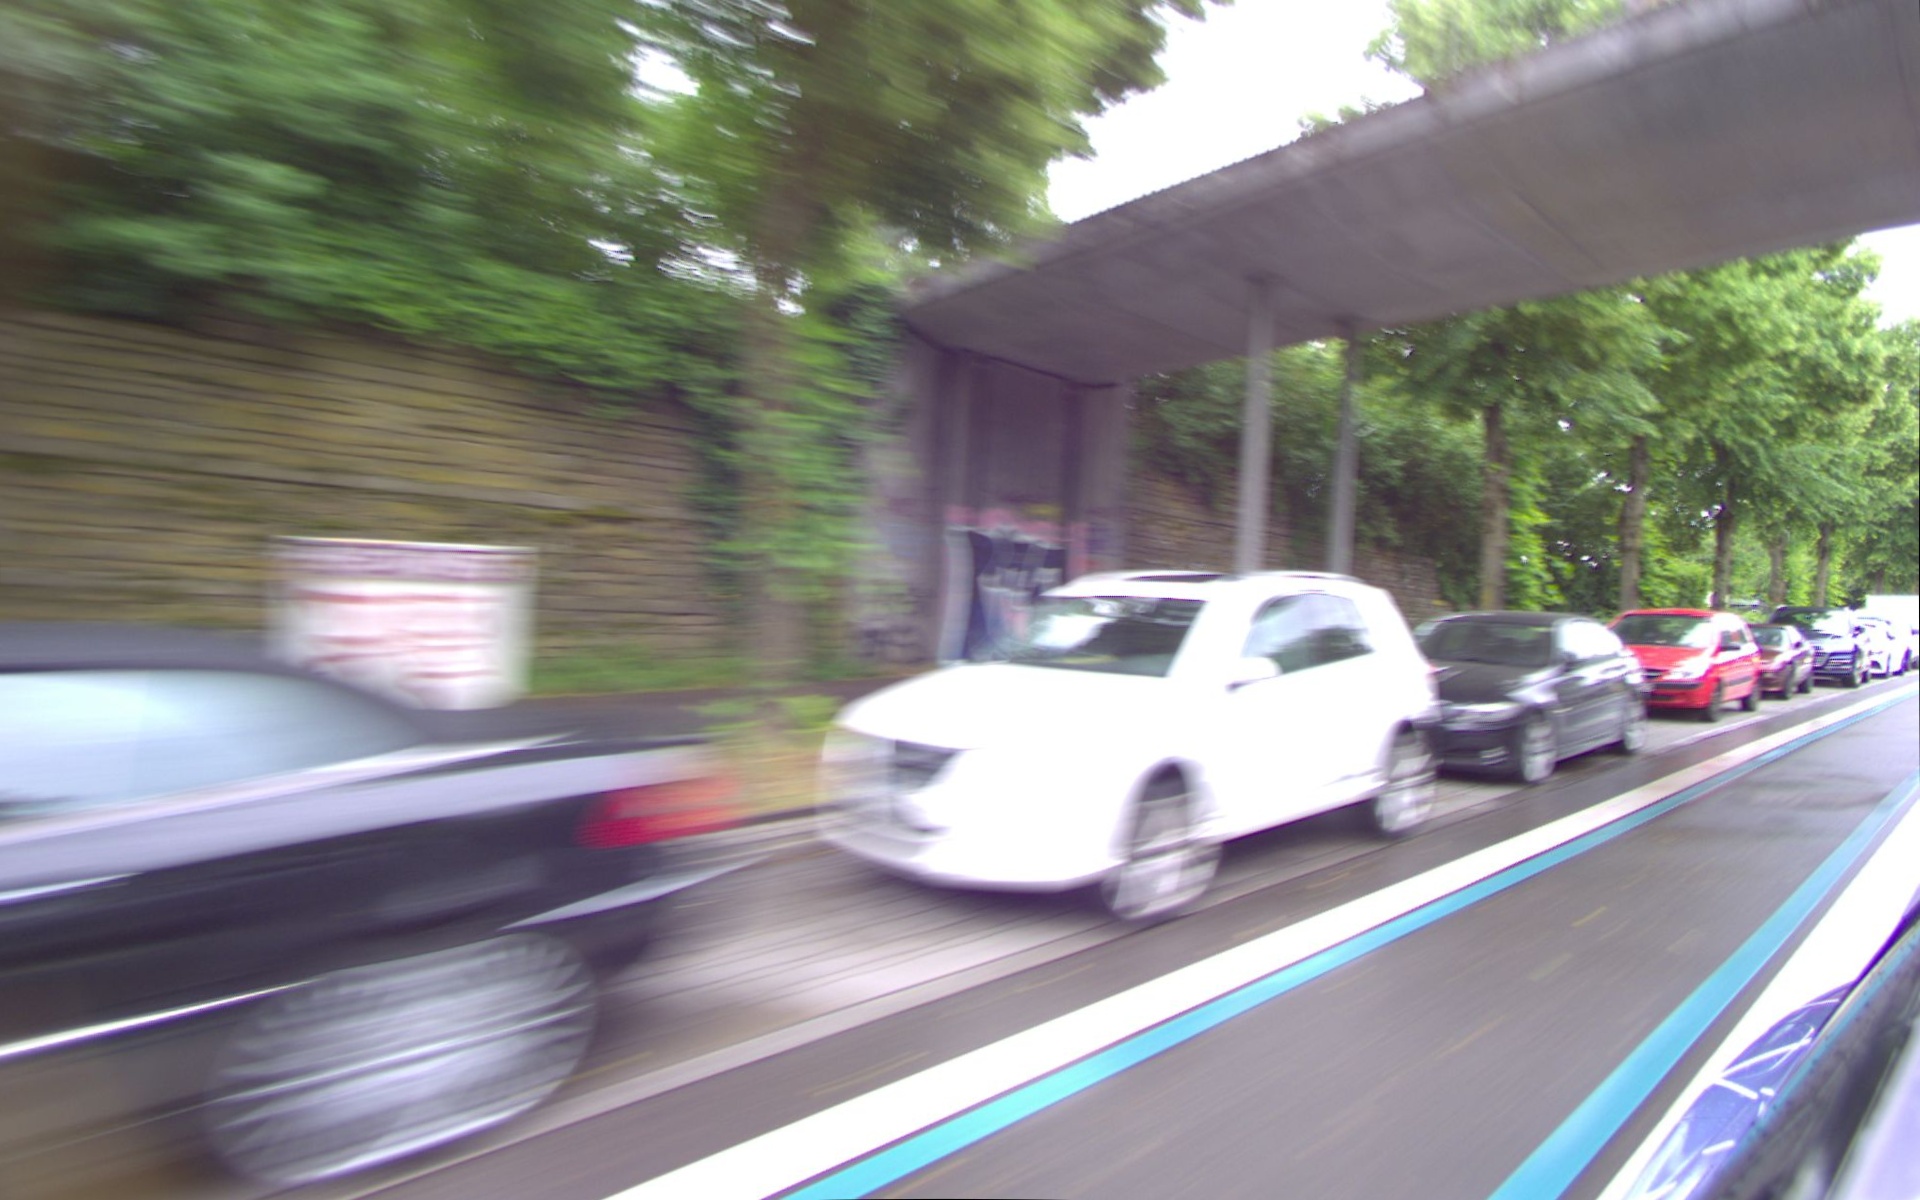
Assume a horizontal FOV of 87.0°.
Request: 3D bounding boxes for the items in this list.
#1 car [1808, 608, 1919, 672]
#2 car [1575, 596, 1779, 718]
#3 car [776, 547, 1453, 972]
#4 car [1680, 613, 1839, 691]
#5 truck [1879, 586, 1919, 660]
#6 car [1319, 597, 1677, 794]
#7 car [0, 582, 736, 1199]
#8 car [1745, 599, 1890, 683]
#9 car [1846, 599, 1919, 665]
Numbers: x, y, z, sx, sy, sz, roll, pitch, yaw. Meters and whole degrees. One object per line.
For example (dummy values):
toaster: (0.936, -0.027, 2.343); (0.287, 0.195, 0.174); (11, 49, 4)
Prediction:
car: (23.086, 1.006, 25.698); (4.536, 1.444, 1.663); (2, 0, -41)
car: (10.271, 0.770, 14.414); (3.561, 1.485, 1.561); (3, -1, -41)
car: (1.172, 0.590, 5.967); (4.189, 1.639, 1.715); (0, 1, -43)
car: (14.561, 0.902, 18.351); (4.111, 1.205, 1.628); (2, 0, -43)
truck: (32.321, 0.789, 33.980); (3.930, 2.363, 1.721); (2, 0, -42)
car: (5.352, 0.722, 9.796); (4.374, 1.411, 1.675); (-1, 2, -42)
car: (-2.932, 0.695, 2.308); (4.481, 1.393, 1.721); (-2, 2, -42)
car: (18.764, 0.857, 22.070); (4.566, 1.580, 1.995); (2, 0, -45)
car: (28.080, 0.949, 30.367); (4.270, 1.813, 1.725); (2, 0, -42)
